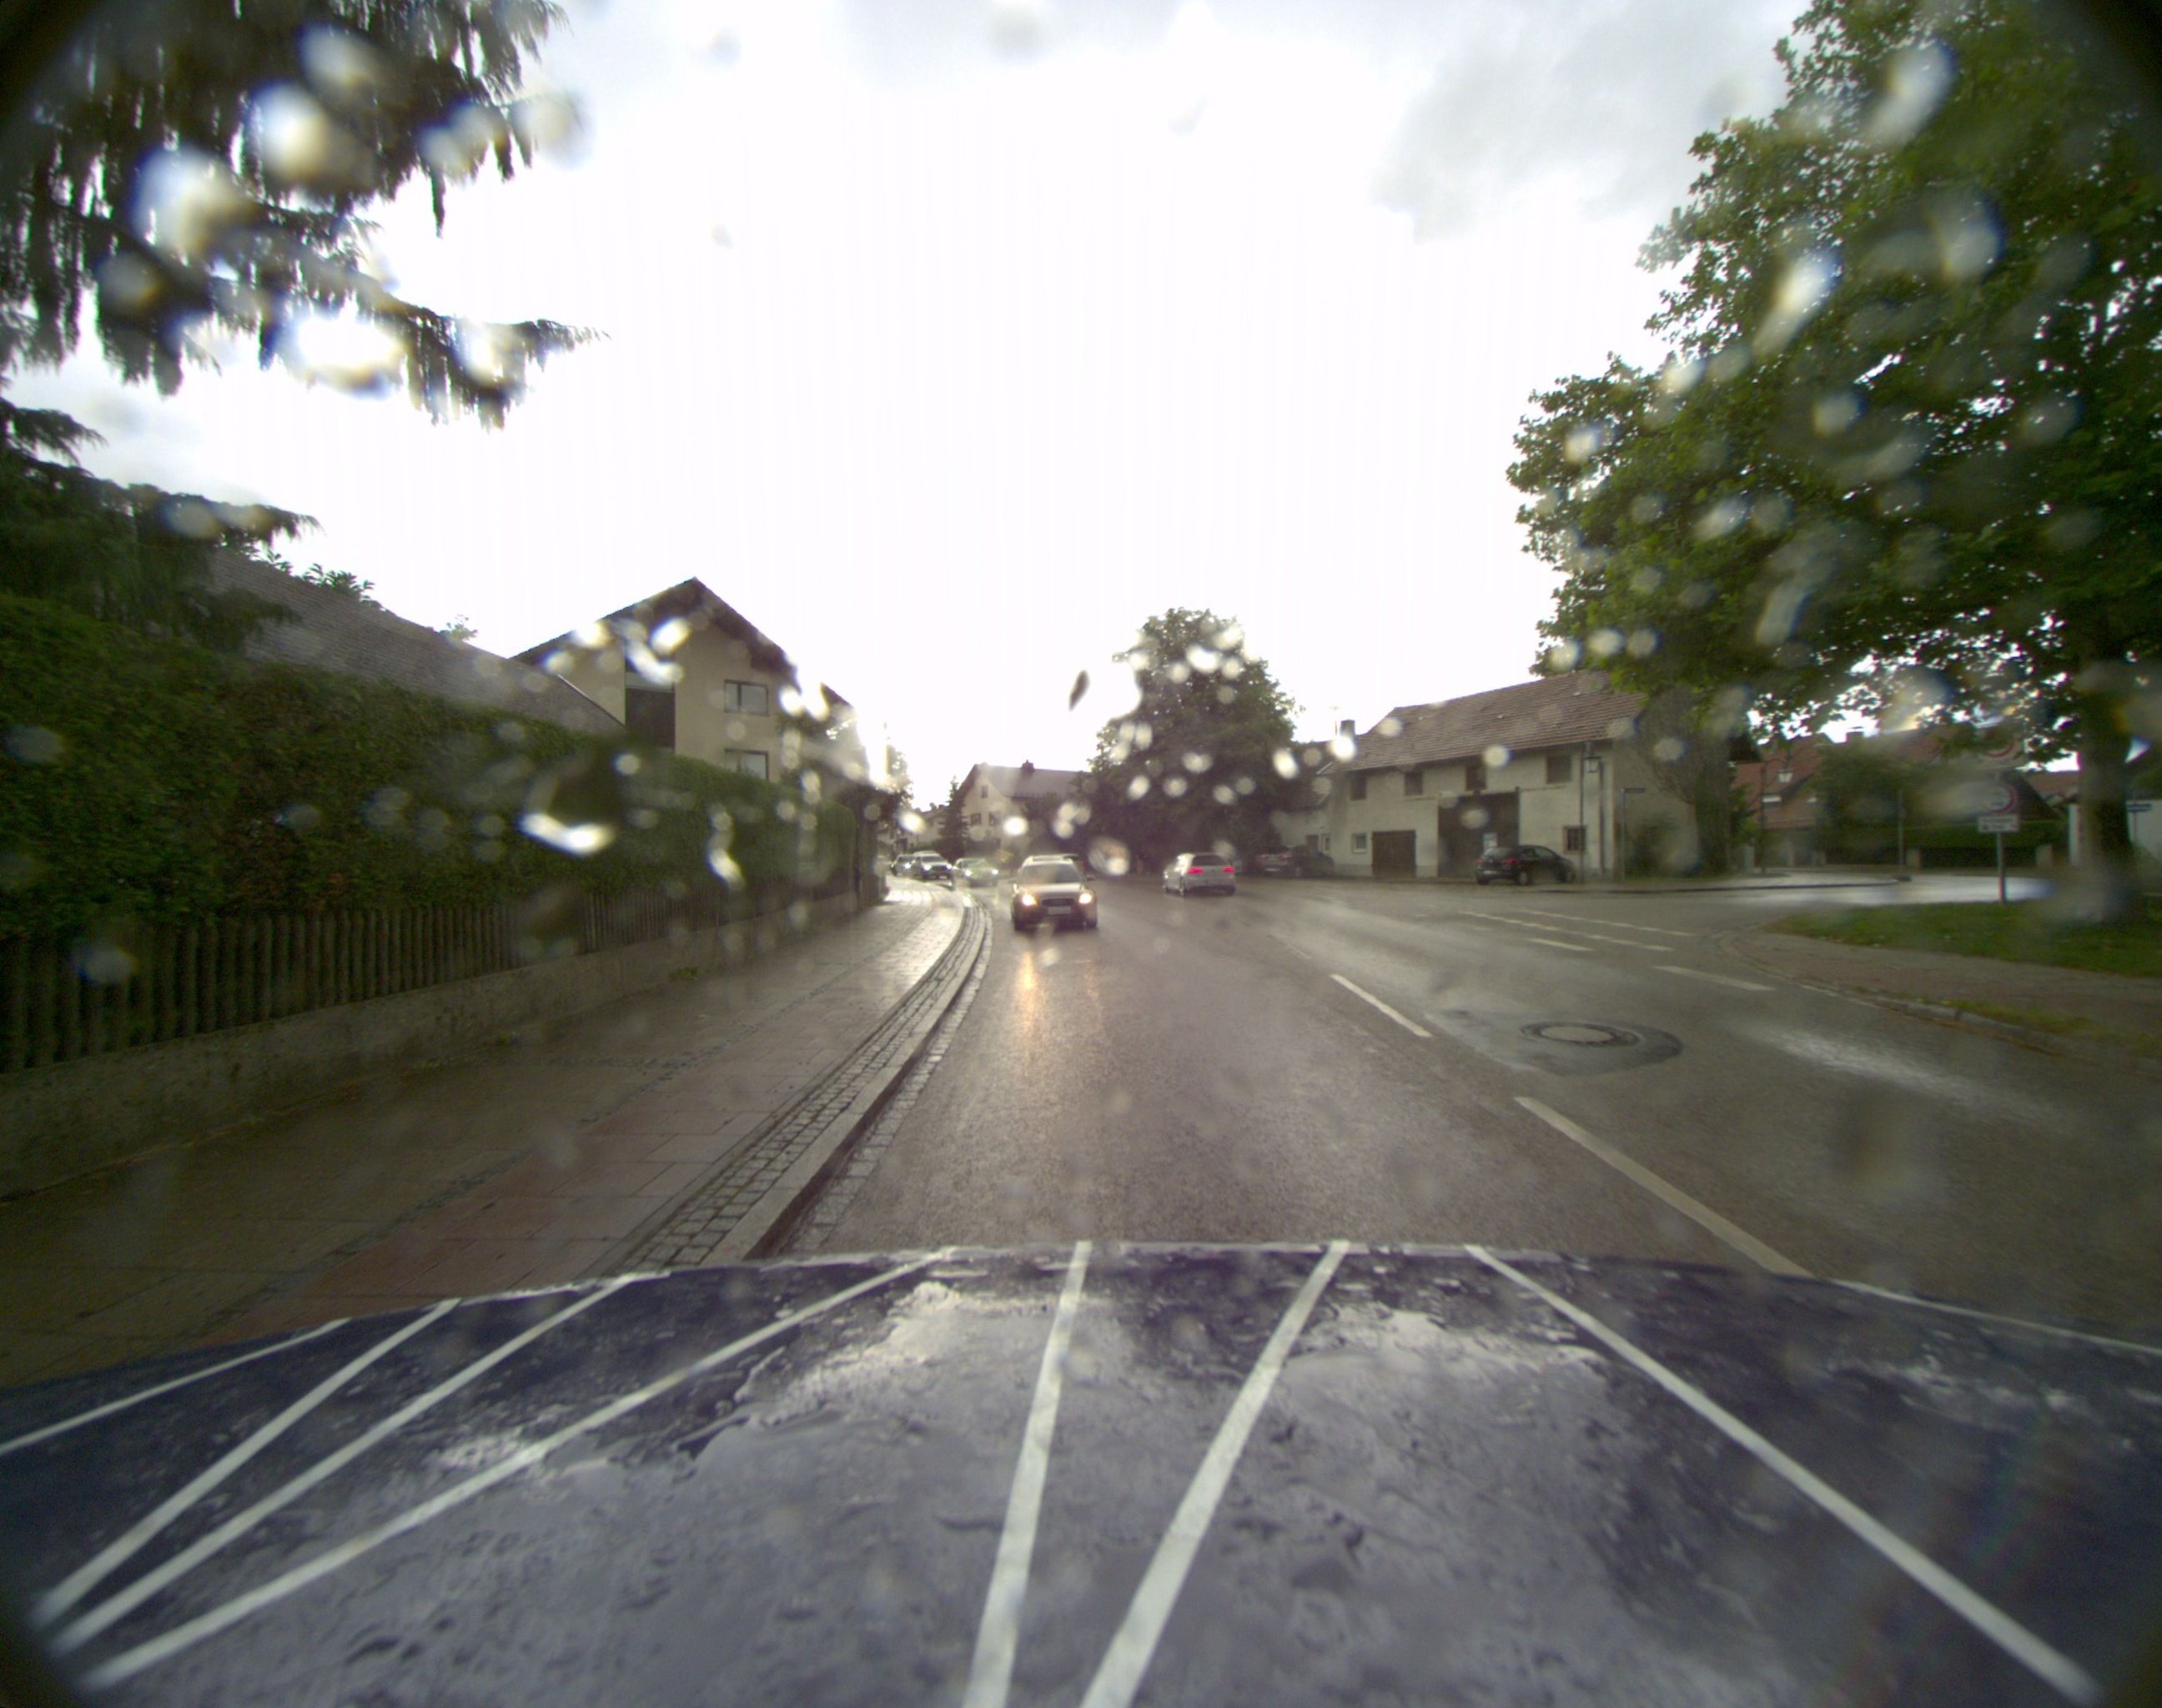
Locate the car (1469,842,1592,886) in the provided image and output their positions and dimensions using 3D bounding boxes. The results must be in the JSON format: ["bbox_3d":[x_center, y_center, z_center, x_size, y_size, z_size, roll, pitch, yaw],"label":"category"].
[{"bbox_3d":[16.316,0.340,27.548,4.287,1.428,1.817,-1,1,-27],"label":"car"}]

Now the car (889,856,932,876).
[{"bbox_3d":[-12.939,0.886,57.487,1.798,1.365,4.271,-3,1,-32],"label":"car"}]

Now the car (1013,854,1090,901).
[{"bbox_3d":[-1.233,0.799,28.687,1.796,1.471,5.378,-3,1,-14],"label":"car"}]

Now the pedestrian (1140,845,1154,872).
[{"bbox_3d":[3.930,0.270,45.210,0.652,1.619,0.479,-1,1,17],"label":"pedestrian"}]

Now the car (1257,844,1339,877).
[{"bbox_3d":[10.506,0.312,36.646,4.290,1.539,1.812,1,0,-42],"label":"car"}]

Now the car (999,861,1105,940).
[{"bbox_3d":[-0.793,0.921,17.139,1.795,1.387,4.277,-3,1,-9],"label":"car"}]

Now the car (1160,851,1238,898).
[{"bbox_3d":[4.033,0.655,26.595,1.721,1.434,3.997,-3,1,-5],"label":"car"}]

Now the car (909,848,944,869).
[{"bbox_3d":[-13.696,0.407,67.160,1.648,1.755,4.320,-3,1,-30],"label":"car"}]

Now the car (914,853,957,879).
[{"bbox_3d":[-9.694,0.763,50.423,1.797,1.539,4.272,-3,1,-24],"label":"car"}]

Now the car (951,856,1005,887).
[{"bbox_3d":[-5.453,0.868,39.801,1.797,1.387,4.273,-3,1,-21],"label":"car"}]

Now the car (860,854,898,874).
[{"bbox_3d":[-17.129,0.846,64.308,1.798,1.539,4.271,-3,1,-32],"label":"car"}]

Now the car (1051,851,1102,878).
[{"bbox_3d":[-0.315,0.570,44.347,1.625,1.436,3.663,-2,1,-23],"label":"car"}]
